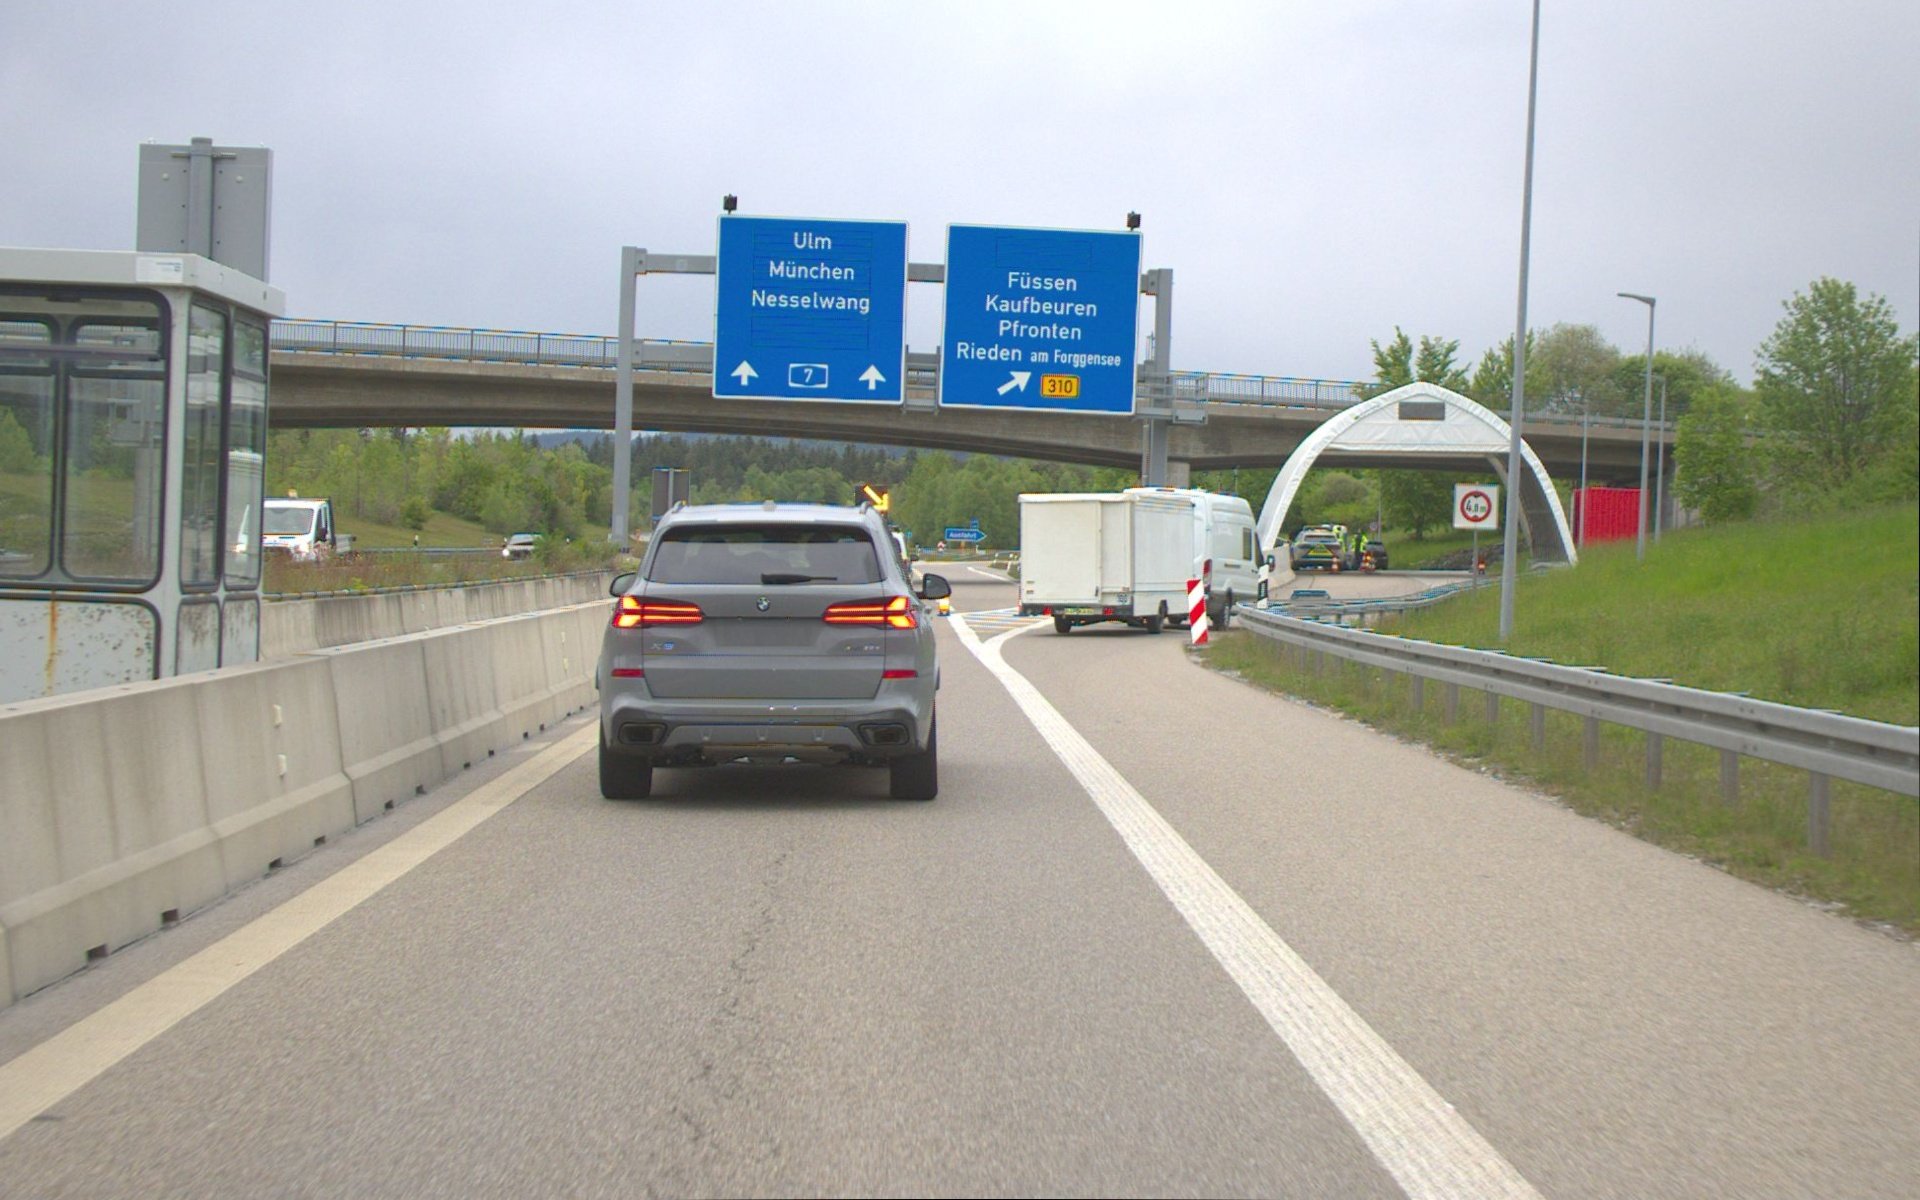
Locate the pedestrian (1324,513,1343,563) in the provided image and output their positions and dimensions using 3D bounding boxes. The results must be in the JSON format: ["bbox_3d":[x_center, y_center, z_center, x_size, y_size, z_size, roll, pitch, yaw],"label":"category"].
[{"bbox_3d":[14.506,-2.406,133.512,0.720,1.939,0.690,0,1,4],"label":"pedestrian"}]

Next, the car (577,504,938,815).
[{"bbox_3d":[-1.152,0.295,21.145,1.993,1.713,4.000,1,1,-1],"label":"car"}]

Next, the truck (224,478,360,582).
[{"bbox_3d":[-16.782,-1.755,86.660,2.356,2.471,5.989,1,1,-1],"label":"truck"}]

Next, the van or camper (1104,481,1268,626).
[{"bbox_3d":[4.563,-0.912,68.432,2.158,2.754,5.867,1,1,15],"label":"van or camper"}]

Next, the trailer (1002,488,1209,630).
[{"bbox_3d":[2.729,-0.737,62.396,2.280,2.422,6.812,1,1,15],"label":"trailer"}]

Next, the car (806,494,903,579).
[{"bbox_3d":[-2.610,-1.584,84.492,2.286,2.006,5.051,1,2,-2],"label":"car"}]

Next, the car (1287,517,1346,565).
[{"bbox_3d":[13.483,-2.239,130.187,1.994,1.766,3.765,0,1,3],"label":"car"}]

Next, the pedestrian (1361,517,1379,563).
[{"bbox_3d":[15.930,-2.335,133.537,0.648,1.769,0.606,0,1,2],"label":"pedestrian"}]

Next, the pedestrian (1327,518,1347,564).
[{"bbox_3d":[14.543,-2.277,132.680,0.720,1.769,0.690,0,1,4],"label":"pedestrian"}]

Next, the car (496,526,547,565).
[{"bbox_3d":[-17.515,-2.184,137.370,1.607,1.495,3.838,1,1,-1],"label":"car"}]
